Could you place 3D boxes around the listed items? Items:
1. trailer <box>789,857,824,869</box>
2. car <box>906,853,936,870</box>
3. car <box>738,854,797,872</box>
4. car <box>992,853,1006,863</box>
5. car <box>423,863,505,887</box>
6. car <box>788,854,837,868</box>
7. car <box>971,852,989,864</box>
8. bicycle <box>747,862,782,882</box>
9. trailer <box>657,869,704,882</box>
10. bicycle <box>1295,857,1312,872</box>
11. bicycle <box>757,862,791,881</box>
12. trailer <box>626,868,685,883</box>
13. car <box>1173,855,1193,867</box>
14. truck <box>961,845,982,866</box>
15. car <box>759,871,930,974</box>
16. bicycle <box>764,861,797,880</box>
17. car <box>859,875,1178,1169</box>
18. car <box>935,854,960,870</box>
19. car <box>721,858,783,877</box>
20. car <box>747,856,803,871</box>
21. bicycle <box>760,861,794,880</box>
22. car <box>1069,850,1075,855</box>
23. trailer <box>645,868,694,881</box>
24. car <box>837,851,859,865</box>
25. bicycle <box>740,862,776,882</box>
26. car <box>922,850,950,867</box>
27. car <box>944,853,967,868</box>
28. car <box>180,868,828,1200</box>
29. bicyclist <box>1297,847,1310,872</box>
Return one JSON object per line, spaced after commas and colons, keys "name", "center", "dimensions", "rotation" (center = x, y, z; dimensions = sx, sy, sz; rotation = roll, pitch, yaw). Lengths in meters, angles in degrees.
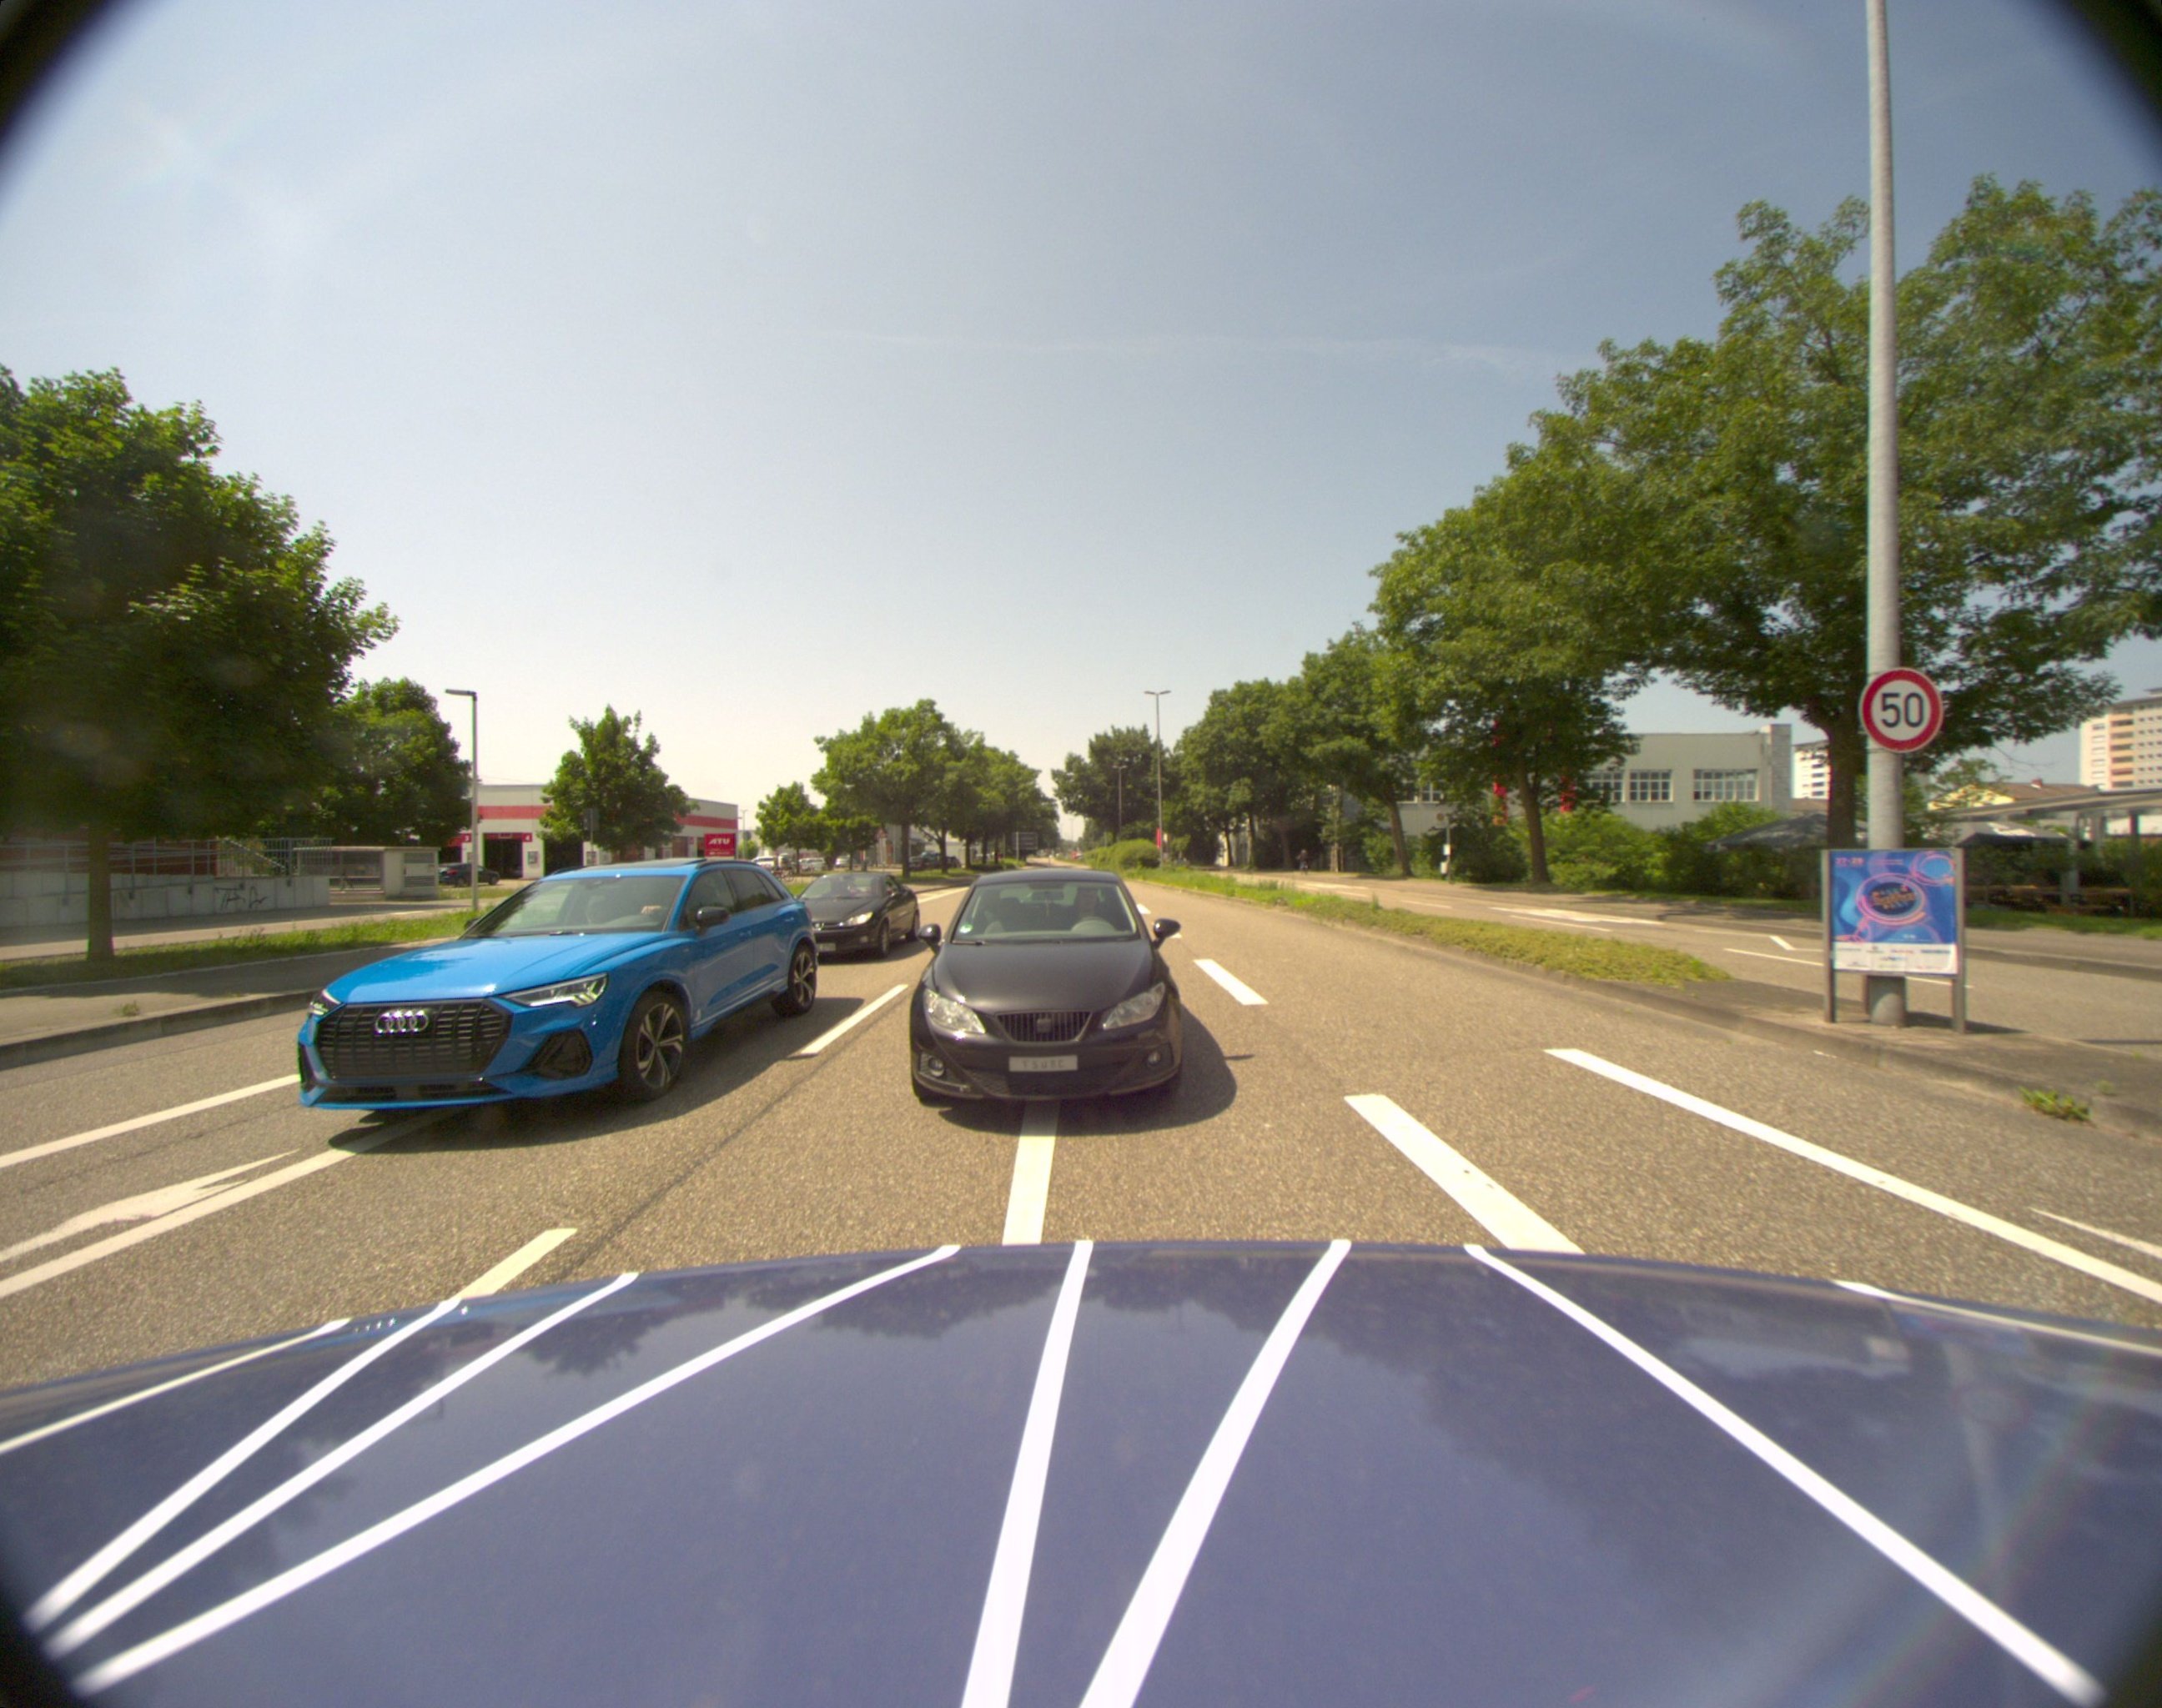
{"name": "trailer", "center": [-24.623, 0.813, 68.193], "dimensions": [2.642, 1.046, 1.578], "rotation": [0, 0, -2]}
{"name": "car", "center": [-13.425, 0.587, 63.884], "dimensions": [1.642, 1.363, 4.000], "rotation": [0, 0, 1]}
{"name": "car", "center": [-25.193, 0.705, 61.081], "dimensions": [3.998, 1.394, 1.747], "rotation": [0, 0, -3]}
{"name": "car", "center": [-12.864, 0.652, 119.618], "dimensions": [1.719, 1.458, 4.000], "rotation": [0, 0, 1]}
{"name": "car", "center": [-38.095, 1.257, 47.033], "dimensions": [1.717, 1.365, 4.145], "rotation": [0, 0, 0]}
{"name": "car", "center": [-24.987, 0.655, 70.797], "dimensions": [3.998, 1.293, 1.689], "rotation": [0, 0, -3]}
{"name": "car", "center": [-13.180, 0.520, 99.022], "dimensions": [1.719, 1.458, 4.000], "rotation": [0, 0, 1]}
{"name": "bicycle", "center": [-18.402, 1.028, 44.168], "dimensions": [1.784, 1.117, 0.514], "rotation": [0, 1, -6]}
{"name": "trailer", "center": [-24.193, 1.298, 45.940], "dimensions": [2.137, 0.757, 1.394], "rotation": [-1, 0, 2]}
{"name": "bicycle", "center": [15.383, 0.725, 52.635], "dimensions": [0.656, 1.045, 1.884], "rotation": [-1, 0, 1]}
{"name": "bicycle", "center": [-18.130, 1.046, 44.914], "dimensions": [1.784, 1.117, 0.514], "rotation": [0, 1, -6]}
{"name": "trailer", "center": [-23.740, 1.212, 42.435], "dimensions": [2.467, 0.757, 1.449], "rotation": [-1, 0, 2]}
{"name": "car", "center": [11.887, 0.779, 88.944], "dimensions": [1.722, 1.255, 4.301], "rotation": [2, 0, 0]}
{"name": "truck", "center": [-13.420, 0.195, 93.186], "dimensions": [1.904, 2.552, 4.000], "rotation": [0, 0, 2]}
{"name": "car", "center": [-3.823, 1.034, 13.023], "dimensions": [1.642, 1.336, 4.000], "rotation": [-3, 0, 0]}
{"name": "bicycle", "center": [-18.313, 1.026, 46.273], "dimensions": [1.784, 1.117, 0.514], "rotation": [0, 1, -6]}
{"name": "car", "center": [-0.338, 0.927, 5.946], "dimensions": [1.642, 1.396, 3.999], "rotation": [0, 0, -1]}
{"name": "car", "center": [-13.232, 0.739, 75.286], "dimensions": [1.719, 1.511, 4.000], "rotation": [0, 0, 1]}
{"name": "car", "center": [-25.423, 1.019, 58.854], "dimensions": [3.998, 1.394, 1.747], "rotation": [0, 0, -2]}
{"name": "car", "center": [-25.513, 0.813, 63.450], "dimensions": [3.998, 1.201, 1.747], "rotation": [0, 0, -3]}
{"name": "bicycle", "center": [-18.223, 1.008, 45.554], "dimensions": [1.784, 1.117, 0.514], "rotation": [0, 1, -6]}
{"name": "car", "center": [-2.913, -0.449, 239.845], "dimensions": [1.999, 1.692, 4.000], "rotation": [0, 0, 0]}
{"name": "trailer", "center": [-23.984, 1.189, 44.315], "dimensions": [2.137, 0.757, 1.267], "rotation": [-1, 0, 2]}
{"name": "car", "center": [-27.304, 0.483, 89.172], "dimensions": [1.759, 1.586, 3.997], "rotation": [-1, 0, -7]}
{"name": "bicycle", "center": [-18.487, 1.048, 43.542], "dimensions": [1.784, 1.117, 0.514], "rotation": [0, 1, -6]}
{"name": "car", "center": [-13.332, 0.411, 70.111], "dimensions": [1.719, 1.458, 4.000], "rotation": [0, 0, 1]}
{"name": "car", "center": [-13.452, 0.687, 81.460], "dimensions": [1.719, 1.504, 4.000], "rotation": [0, 0, 1]}
{"name": "car", "center": [-3.713, 0.973, 6.134], "dimensions": [1.842, 1.586, 4.399], "rotation": [-1, 0, 0]}
{"name": "bicyclist", "center": [15.388, 0.374, 52.564], "dimensions": [0.651, 1.760, 0.927], "rotation": [-1, 1, 1]}
